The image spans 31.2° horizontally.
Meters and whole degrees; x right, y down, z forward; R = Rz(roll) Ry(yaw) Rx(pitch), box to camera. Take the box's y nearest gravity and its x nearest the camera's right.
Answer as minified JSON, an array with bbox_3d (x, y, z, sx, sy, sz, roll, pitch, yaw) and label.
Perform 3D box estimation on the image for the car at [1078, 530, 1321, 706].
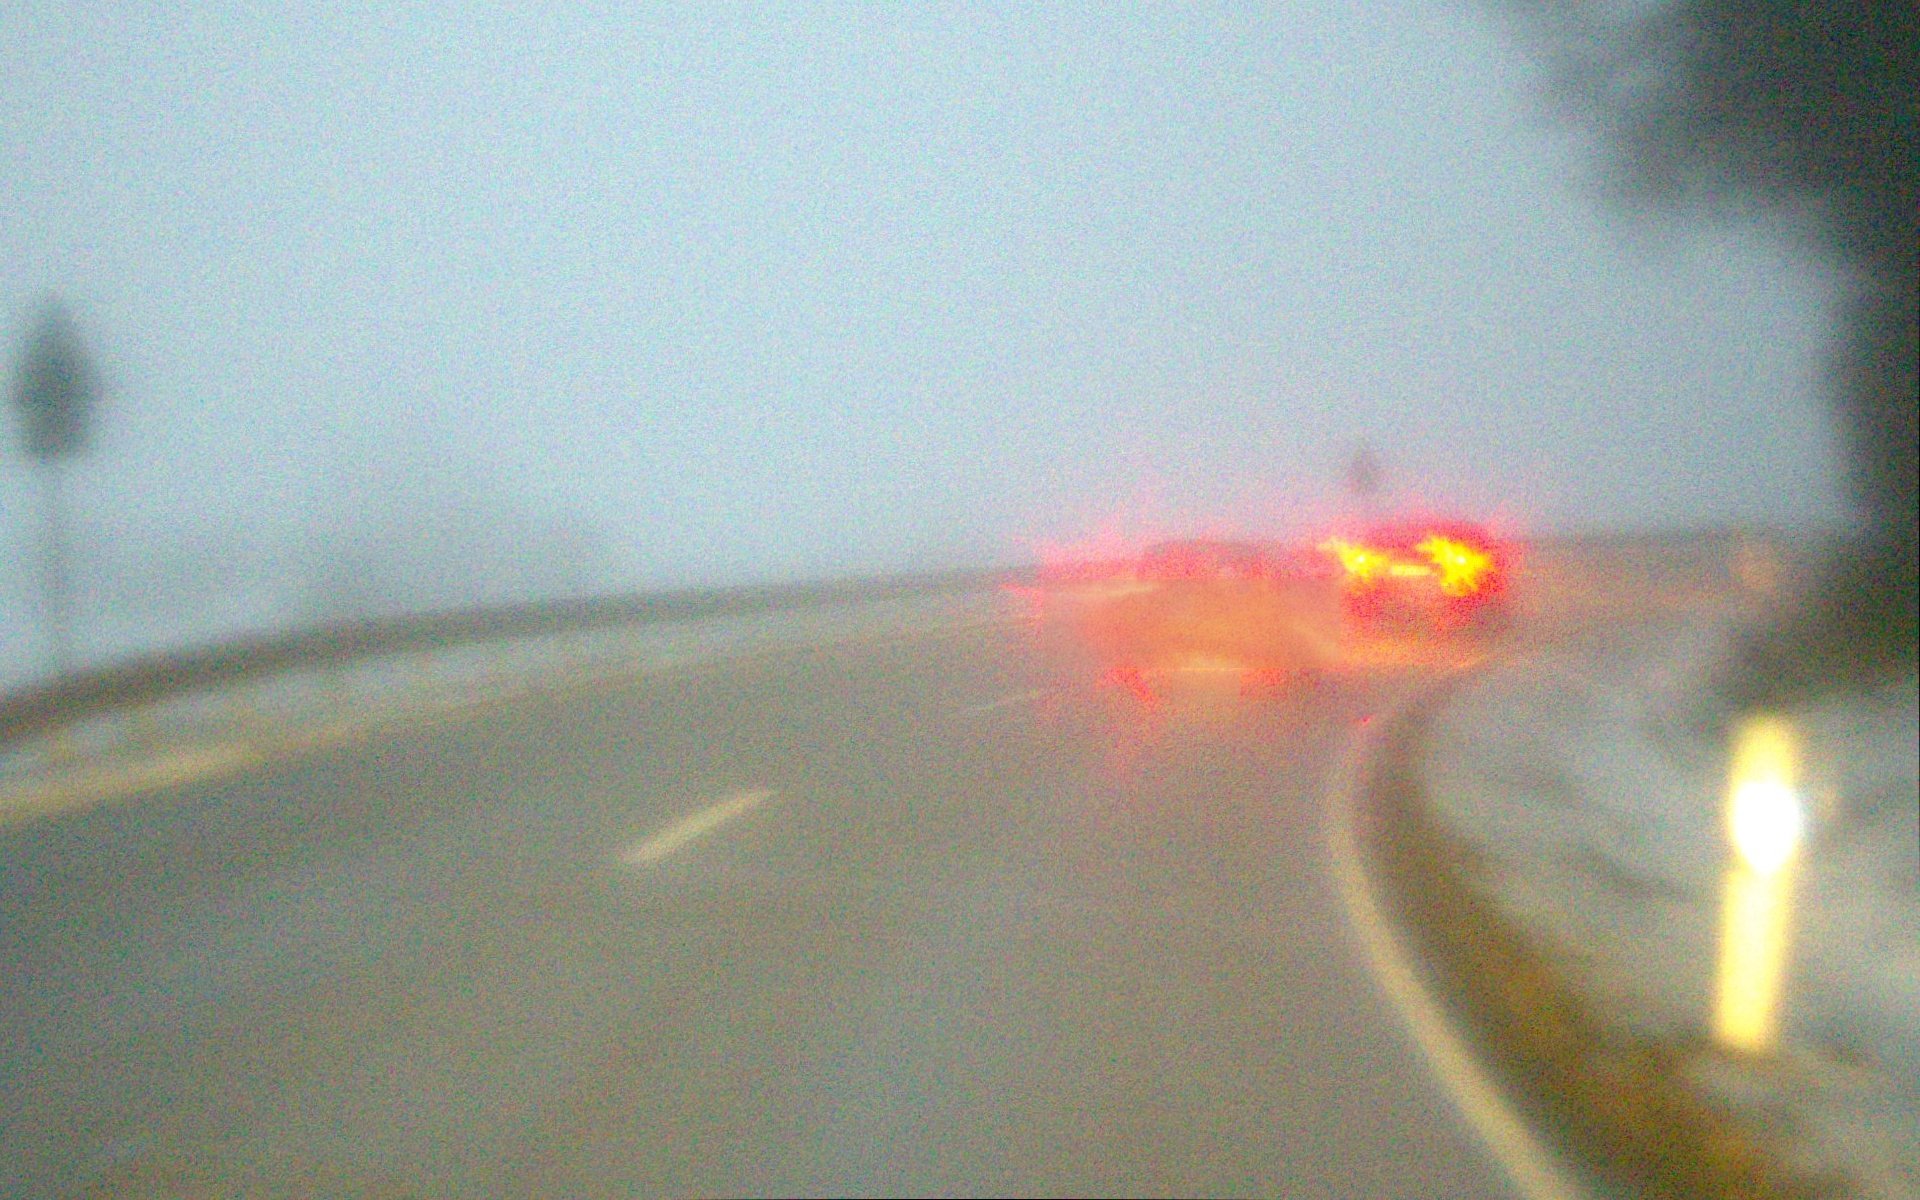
[{"bbox_3d":[2.323,0.124,32.416,1.946,1.376,3.999,-2,2,8],"label":"car"}]

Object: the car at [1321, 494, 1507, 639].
[{"bbox_3d":[6.009,-0.474,45.134,1.995,1.776,3.998,-1,2,13],"label":"car"}]
